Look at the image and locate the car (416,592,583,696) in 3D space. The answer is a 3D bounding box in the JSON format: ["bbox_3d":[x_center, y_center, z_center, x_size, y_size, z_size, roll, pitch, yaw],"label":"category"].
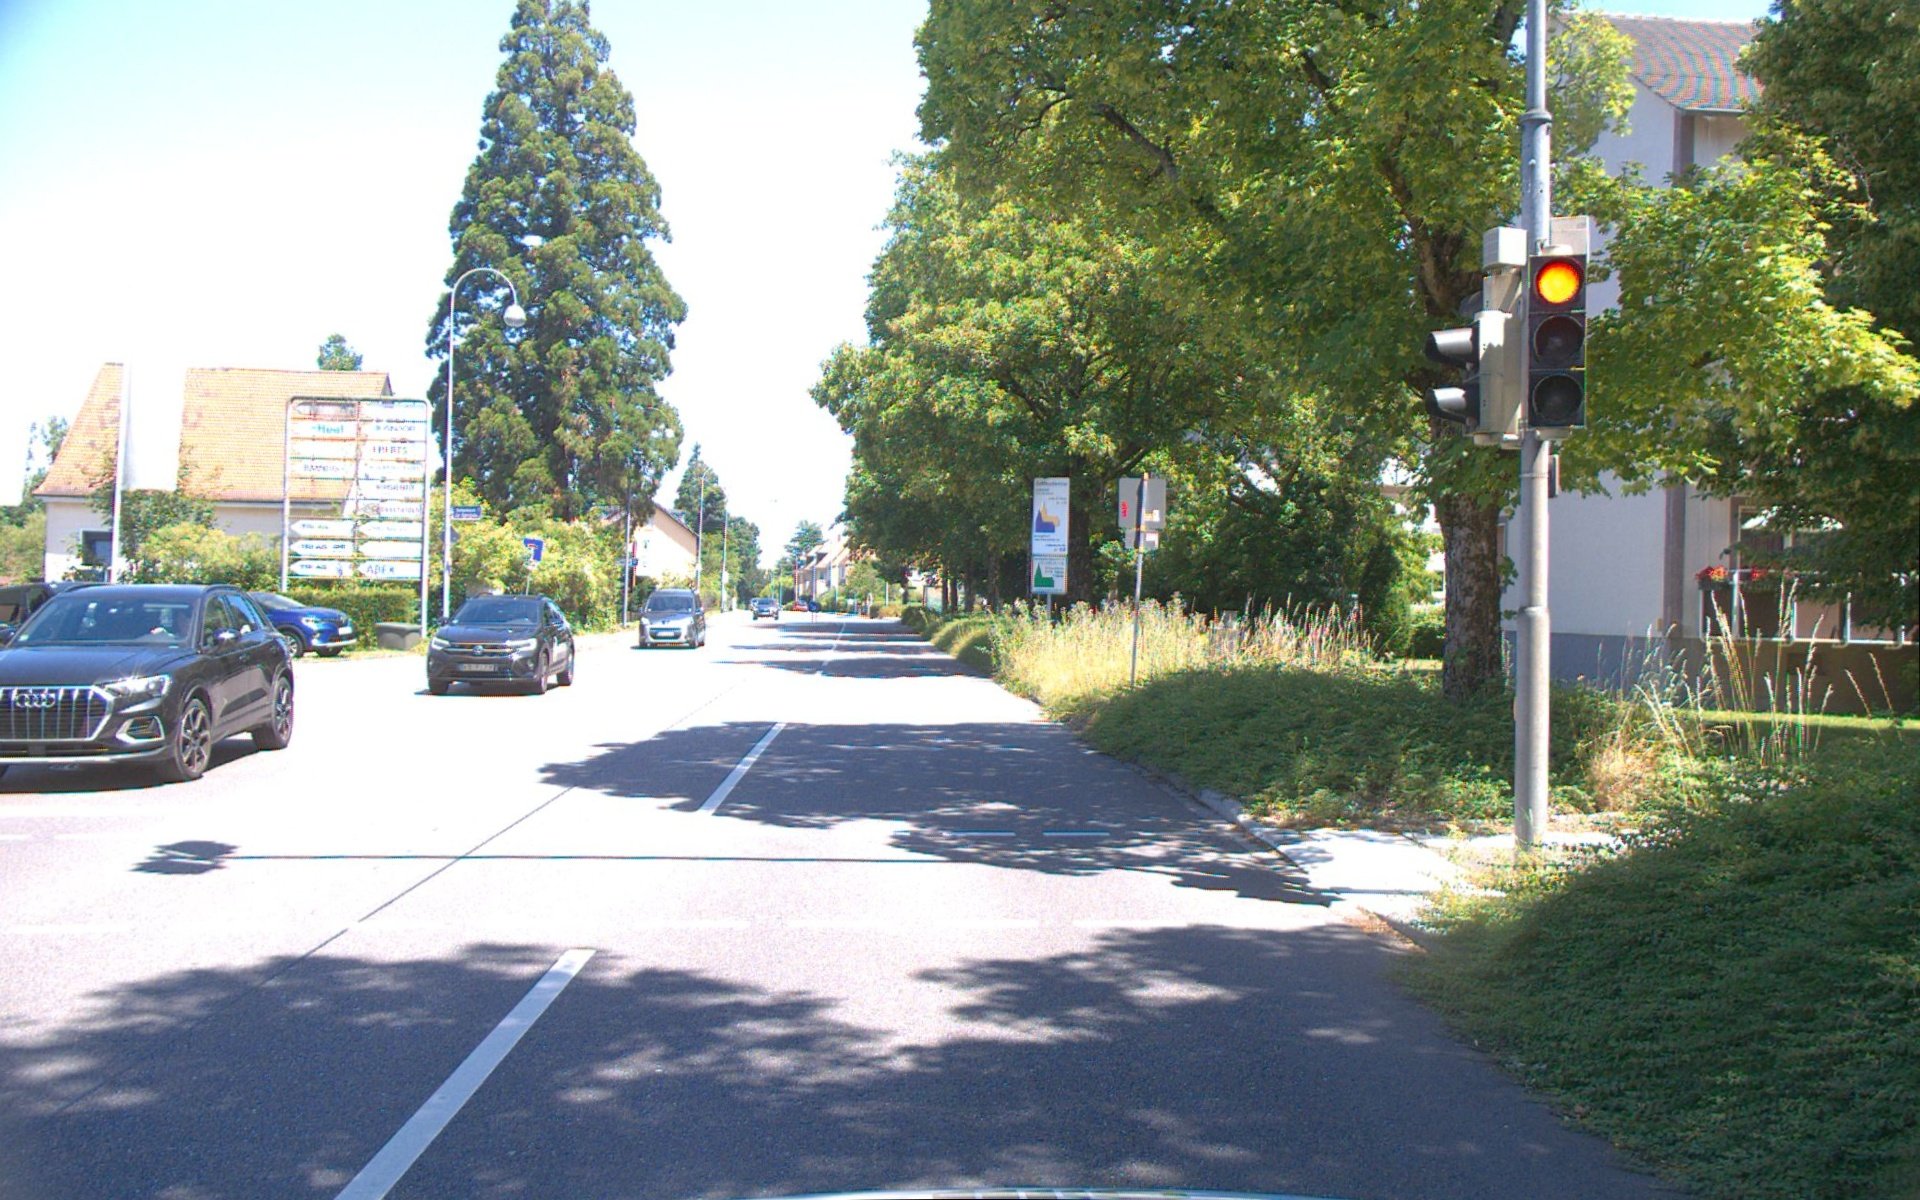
[{"bbox_3d":[-7.262,0.657,26.464,1.832,1.533,4.049,0,0,-5],"label":"car"}]

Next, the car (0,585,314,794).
[{"bbox_3d":[-7.282,0.680,14.677,1.890,1.582,4.295,0,0,-8],"label":"car"}]

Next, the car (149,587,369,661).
[{"bbox_3d":[-15.197,0.495,35.954,4.047,1.531,1.779,0,0,8],"label":"car"}]

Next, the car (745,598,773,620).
[{"bbox_3d":[-14.785,0.665,121.773,1.758,1.563,4.312,1,0,-3],"label":"car"}]

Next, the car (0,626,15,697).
[{"bbox_3d":[-24.741,1.530,40.075,1.775,1.752,4.081,1,0,-8],"label":"car"}]

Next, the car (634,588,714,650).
[{"bbox_3d":[-8.820,0.566,51.323,1.774,1.793,4.569,1,0,-1],"label":"car"}]

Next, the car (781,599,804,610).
[{"bbox_3d":[-21.274,0.508,210.229,1.914,1.383,4.439,0,0,-19],"label":"car"}]
